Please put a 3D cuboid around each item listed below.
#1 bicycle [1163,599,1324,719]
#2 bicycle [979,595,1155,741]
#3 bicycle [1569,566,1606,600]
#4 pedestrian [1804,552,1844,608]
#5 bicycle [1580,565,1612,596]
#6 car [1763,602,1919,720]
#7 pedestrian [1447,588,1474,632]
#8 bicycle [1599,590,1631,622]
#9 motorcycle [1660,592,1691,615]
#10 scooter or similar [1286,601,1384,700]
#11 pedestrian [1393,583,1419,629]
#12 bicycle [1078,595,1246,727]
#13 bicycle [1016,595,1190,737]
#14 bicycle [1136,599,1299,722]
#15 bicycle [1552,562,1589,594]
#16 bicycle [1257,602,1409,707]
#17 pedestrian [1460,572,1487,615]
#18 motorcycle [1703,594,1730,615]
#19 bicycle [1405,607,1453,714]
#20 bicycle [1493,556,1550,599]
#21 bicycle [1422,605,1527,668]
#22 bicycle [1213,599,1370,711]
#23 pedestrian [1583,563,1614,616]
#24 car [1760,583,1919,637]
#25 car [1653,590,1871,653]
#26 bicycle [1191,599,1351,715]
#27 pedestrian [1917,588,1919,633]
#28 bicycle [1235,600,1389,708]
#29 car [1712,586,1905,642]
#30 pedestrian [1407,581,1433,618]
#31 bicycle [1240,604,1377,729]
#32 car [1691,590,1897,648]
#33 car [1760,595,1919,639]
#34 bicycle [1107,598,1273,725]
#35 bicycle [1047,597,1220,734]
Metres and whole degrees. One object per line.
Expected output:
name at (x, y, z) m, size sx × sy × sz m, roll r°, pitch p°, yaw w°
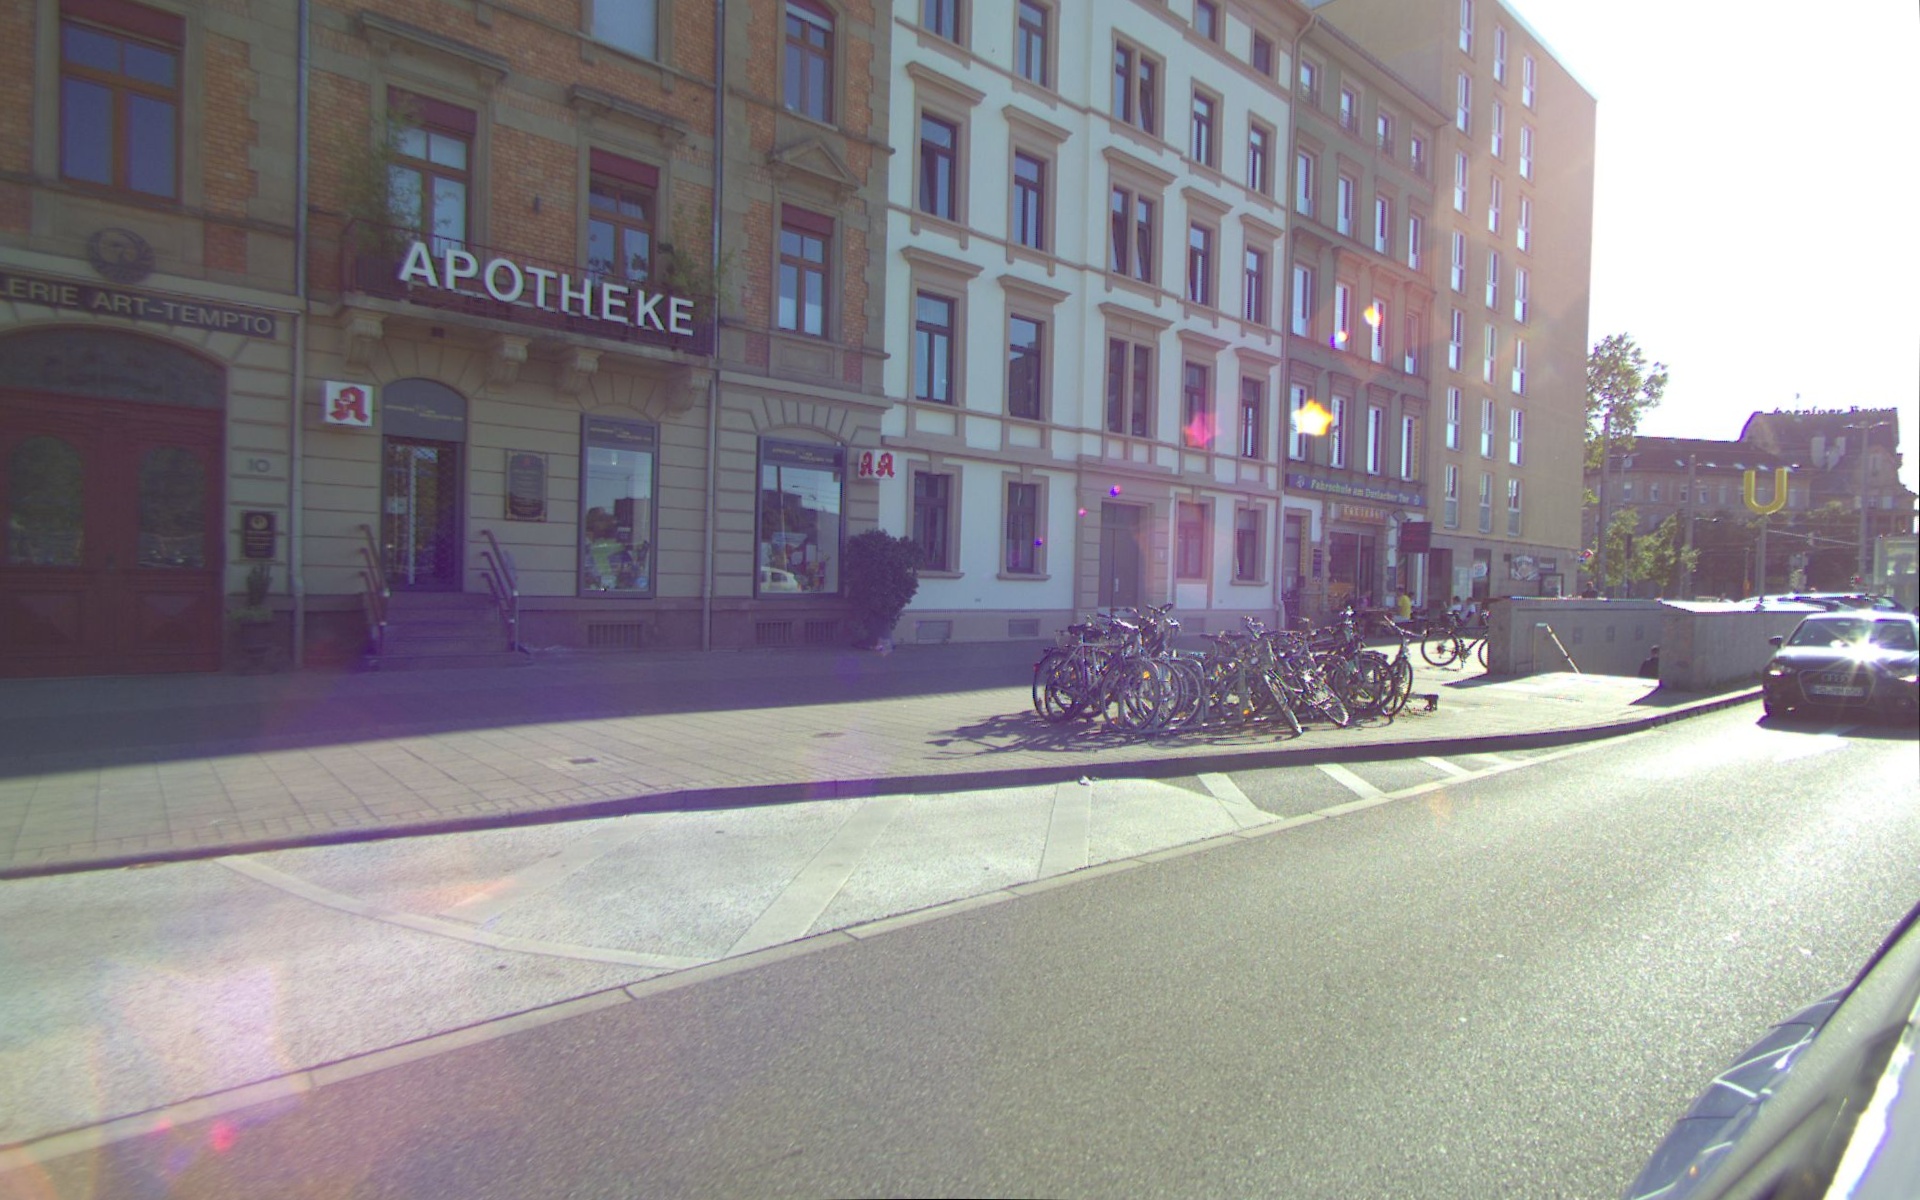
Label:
bicycle at (3.142, 0.617, 11.350) m, size 0.462 × 1.202 × 1.768 m, roll 2°, pitch 0°, yaw -40°
bicycle at (0.944, 0.573, 9.358) m, size 0.462 × 1.202 × 1.768 m, roll 2°, pitch 0°, yaw -40°
bicycle at (24.809, -0.669, 40.018) m, size 2.261 × 1.264 × 0.658 m, roll 0°, pitch 3°, yaw -44°
pedestrian at (29.557, -0.677, 34.637) m, size 0.740 × 1.889 × 0.696 m, roll 1°, pitch 1°, yaw 8°
bicycle at (26.761, -0.815, 42.554) m, size 1.869 × 1.264 × 0.658 m, roll 0°, pitch 3°, yaw -44°
car at (12.666, 0.767, 14.008) m, size 3.763 × 1.406 × 1.694 m, roll 1°, pitch 0°, yaw -40°
pedestrian at (15.578, 0.312, 31.500) m, size 0.580 × 1.335 × 0.517 m, roll 0°, pitch 1°, yaw -33°
bicycle at (27.225, 0.240, 42.050) m, size 1.869 × 1.264 × 0.658 m, roll 0°, pitch 3°, yaw -44°
motorcycle at (35.961, 0.162, 50.848) m, size 1.774 × 1.059 × 0.879 m, roll -1°, pitch 4°, yaw -43°
scooter or similar at (4.956, 0.639, 13.374) m, size 1.195 × 1.231 × 0.637 m, roll 0°, pitch 1°, yaw 23°
pedestrian at (13.212, 0.180, 29.995) m, size 0.515 × 1.335 × 0.582 m, roll 2°, pitch 1°, yaw 42°
bicycle at (2.023, 0.575, 10.347) m, size 0.462 × 1.202 × 1.768 m, roll 2°, pitch 0°, yaw -40°
bicycle at (1.322, 0.577, 9.664) m, size 0.462 × 1.202 × 1.768 m, roll 2°, pitch 0°, yaw -40°
bicycle at (2.760, 0.611, 11.011) m, size 0.462 × 1.202 × 1.768 m, roll 2°, pitch 0°, yaw -40°
bicycle at (24.830, -0.898, 41.151) m, size 2.260 × 1.264 × 0.658 m, roll 0°, pitch 3°, yaw -43°
bicycle at (4.625, 0.640, 12.650) m, size 0.462 × 1.193 × 1.768 m, roll 2°, pitch 0°, yaw -40°
pedestrian at (16.163, -0.208, 31.859) m, size 0.580 × 1.335 × 0.517 m, roll 0°, pitch 1°, yaw -33°
motorcycle at (41.009, 0.234, 54.871) m, size 1.034 × 1.087 × 2.254 m, roll 4°, pitch 2°, yaw 34°
bicycle at (5.547, 0.668, 11.941) m, size 0.465 × 1.161 × 1.754 m, roll 1°, pitch 0°, yaw 26°
bicycle at (20.308, -0.800, 36.601) m, size 2.187 × 1.374 × 0.933 m, roll 4°, pitch 0°, yaw -37°
bicycle at (10.149, 0.703, 20.036) m, size 1.750 × 1.103 × 0.467 m, roll 4°, pitch 1°, yaw 22°
bicycle at (3.889, 0.614, 11.998) m, size 0.462 × 1.202 × 1.768 m, roll 2°, pitch 0°, yaw -40°
pedestrian at (23.077, -0.395, 36.576) m, size 0.744 × 1.889 × 0.826 m, roll 2°, pitch 1°, yaw 20°
car at (31.380, 0.326, 35.935) m, size 4.181 × 1.837 × 1.955 m, roll 1°, pitch 0°, yaw 9°
car at (21.268, 0.528, 27.012) m, size 4.044 × 1.482 × 1.957 m, roll 1°, pitch 1°, yaw 9°
bicycle at (3.541, 0.608, 11.649) m, size 0.462 × 1.202 × 1.768 m, roll 2°, pitch 0°, yaw -40°
pedestrian at (37.146, 0.407, 38.637) m, size 0.693 × 1.749 × 0.744 m, roll 2°, pitch 1°, yaw 33°
bicycle at (4.251, 0.617, 12.329) m, size 0.462 × 1.193 × 1.768 m, roll 2°, pitch 0°, yaw -40°
car at (26.286, 0.410, 31.495) m, size 4.178 × 1.618 × 1.957 m, roll 1°, pitch 0°, yaw 7°
pedestrian at (14.721, -0.024, 32.402) m, size 0.580 × 1.174 × 0.517 m, roll 0°, pitch 1°, yaw -33°
bicycle at (3.535, 0.635, 10.193) m, size 1.739 × 1.161 × 0.469 m, roll 1°, pitch 0°, yaw -41°
car at (24.033, 0.520, 29.315) m, size 4.177 × 1.590 × 1.957 m, roll 1°, pitch 0°, yaw 6°
car at (29.252, 0.553, 33.598) m, size 3.825 × 1.417 × 1.786 m, roll 0°, pitch 0°, yaw 6°
bicycle at (2.387, 0.600, 10.687) m, size 0.462 × 1.202 × 1.768 m, roll 2°, pitch 0°, yaw -40°
bicycle at (1.671, 0.596, 10.017) m, size 0.462 × 1.202 × 1.795 m, roll 2°, pitch 0°, yaw -40°
